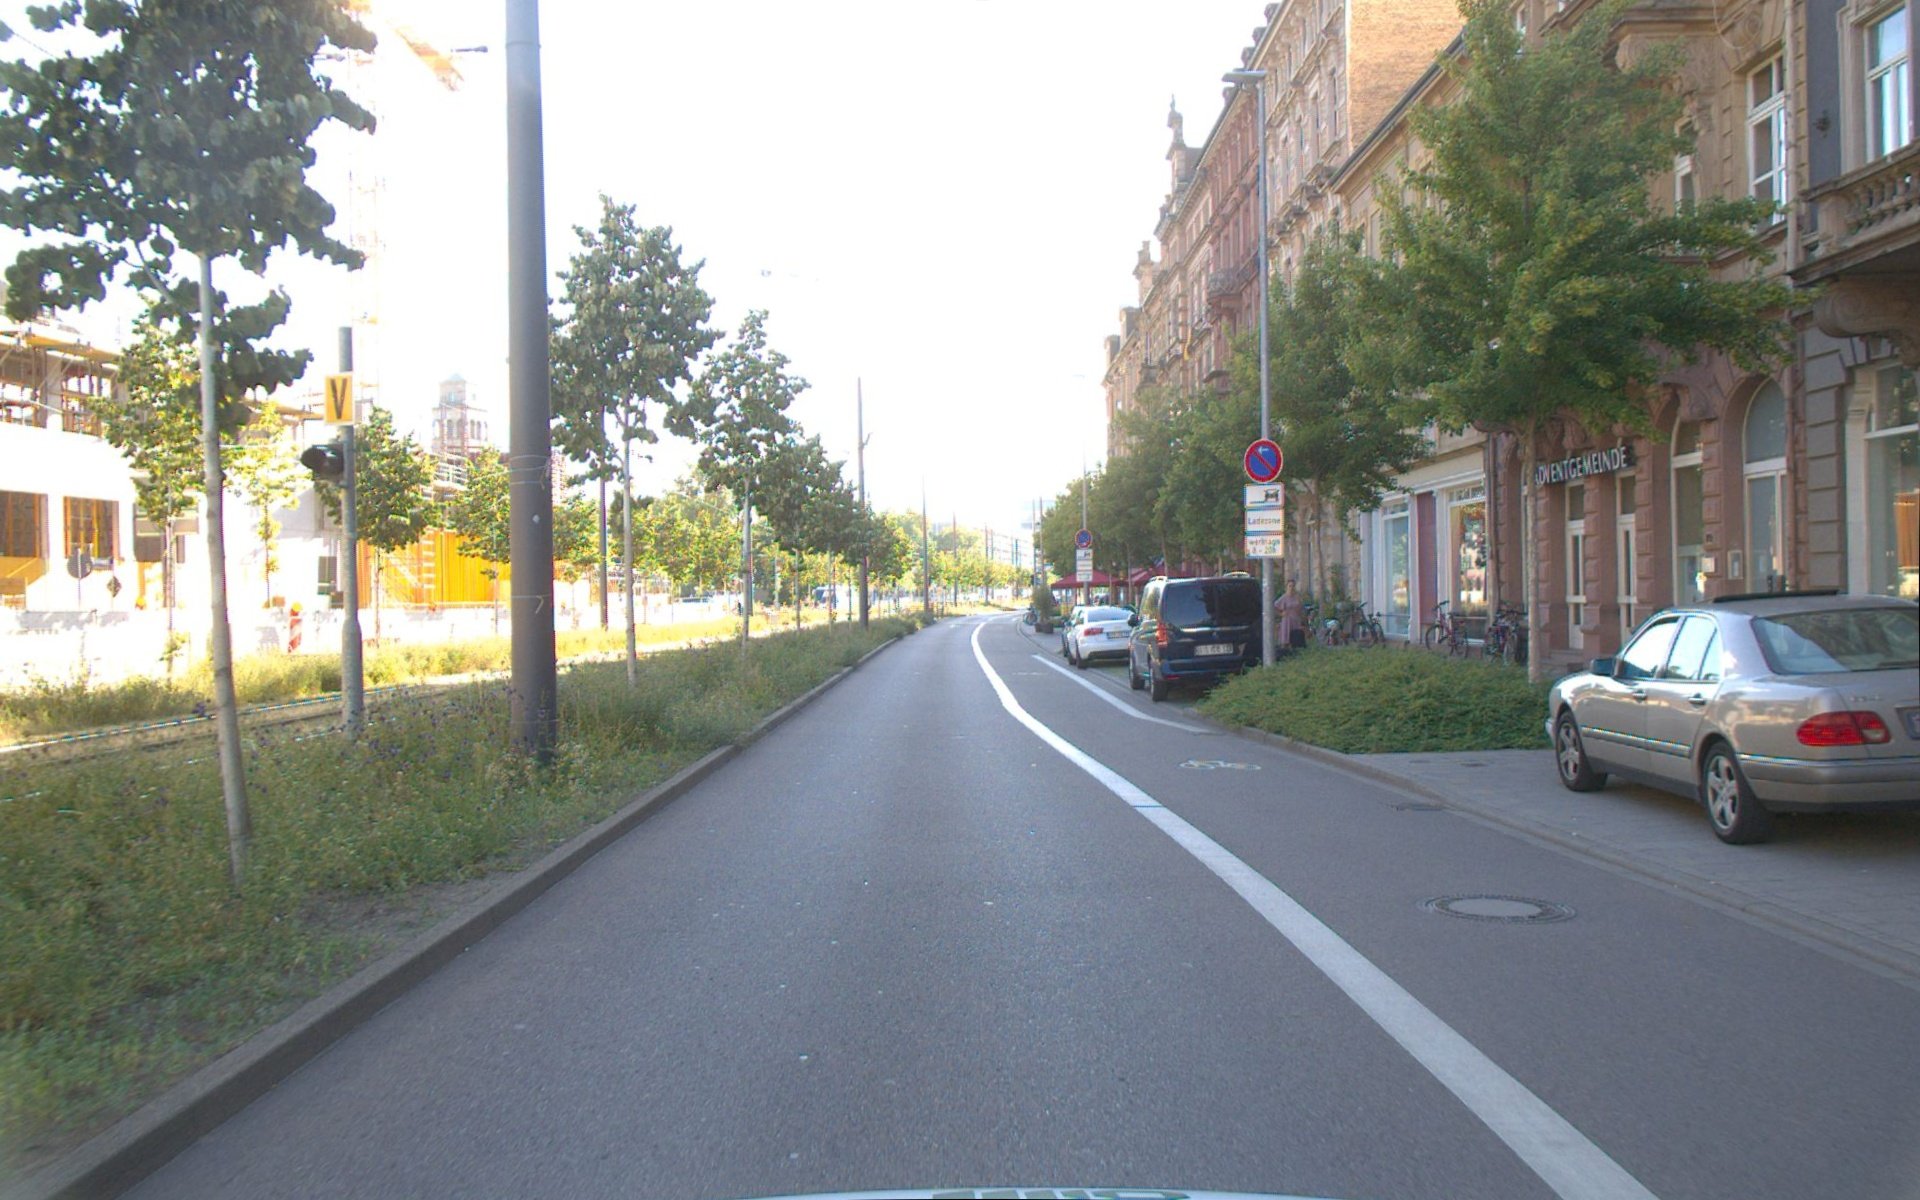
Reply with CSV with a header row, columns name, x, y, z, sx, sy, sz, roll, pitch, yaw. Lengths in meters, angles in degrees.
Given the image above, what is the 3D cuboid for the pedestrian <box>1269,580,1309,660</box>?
name,x,y,z,sx,sy,sz,roll,pitch,yaw
pedestrian,6.208,0.382,31.235,0.612,1.485,0.638,-1,0,-1

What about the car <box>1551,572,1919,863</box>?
name,x,y,z,sx,sy,sz,roll,pitch,yaw
car,5.477,0.606,11.095,1.603,1.512,4.213,-3,1,2

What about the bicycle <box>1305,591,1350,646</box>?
name,x,y,z,sx,sy,sz,roll,pitch,yaw
bicycle,10.074,0.495,45.372,0.647,1.427,2.352,-1,1,-1

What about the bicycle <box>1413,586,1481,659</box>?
name,x,y,z,sx,sy,sz,roll,pitch,yaw
bicycle,9.982,0.434,33.991,0.647,1.427,2.352,-1,1,-1

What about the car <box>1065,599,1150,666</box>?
name,x,y,z,sx,sy,sz,roll,pitch,yaw
car,3.595,0.760,40.928,1.811,1.483,4.157,-1,1,1

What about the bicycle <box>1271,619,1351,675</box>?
name,x,y,z,sx,sy,sz,roll,pitch,yaw
bicycle,7.352,0.962,34.809,1.059,1.103,2.769,0,0,-1

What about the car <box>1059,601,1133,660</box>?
name,x,y,z,sx,sy,sz,roll,pitch,yaw
car,3.788,0.829,46.643,1.811,1.483,4.157,-1,1,1

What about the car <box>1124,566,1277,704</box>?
name,x,y,z,sx,sy,sz,roll,pitch,yaw
car,3.904,0.507,27.523,1.847,1.970,4.474,-4,1,1

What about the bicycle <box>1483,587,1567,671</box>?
name,x,y,z,sx,sy,sz,roll,pitch,yaw
bicycle,10.054,0.491,29.529,0.647,1.427,2.352,-1,1,-1
